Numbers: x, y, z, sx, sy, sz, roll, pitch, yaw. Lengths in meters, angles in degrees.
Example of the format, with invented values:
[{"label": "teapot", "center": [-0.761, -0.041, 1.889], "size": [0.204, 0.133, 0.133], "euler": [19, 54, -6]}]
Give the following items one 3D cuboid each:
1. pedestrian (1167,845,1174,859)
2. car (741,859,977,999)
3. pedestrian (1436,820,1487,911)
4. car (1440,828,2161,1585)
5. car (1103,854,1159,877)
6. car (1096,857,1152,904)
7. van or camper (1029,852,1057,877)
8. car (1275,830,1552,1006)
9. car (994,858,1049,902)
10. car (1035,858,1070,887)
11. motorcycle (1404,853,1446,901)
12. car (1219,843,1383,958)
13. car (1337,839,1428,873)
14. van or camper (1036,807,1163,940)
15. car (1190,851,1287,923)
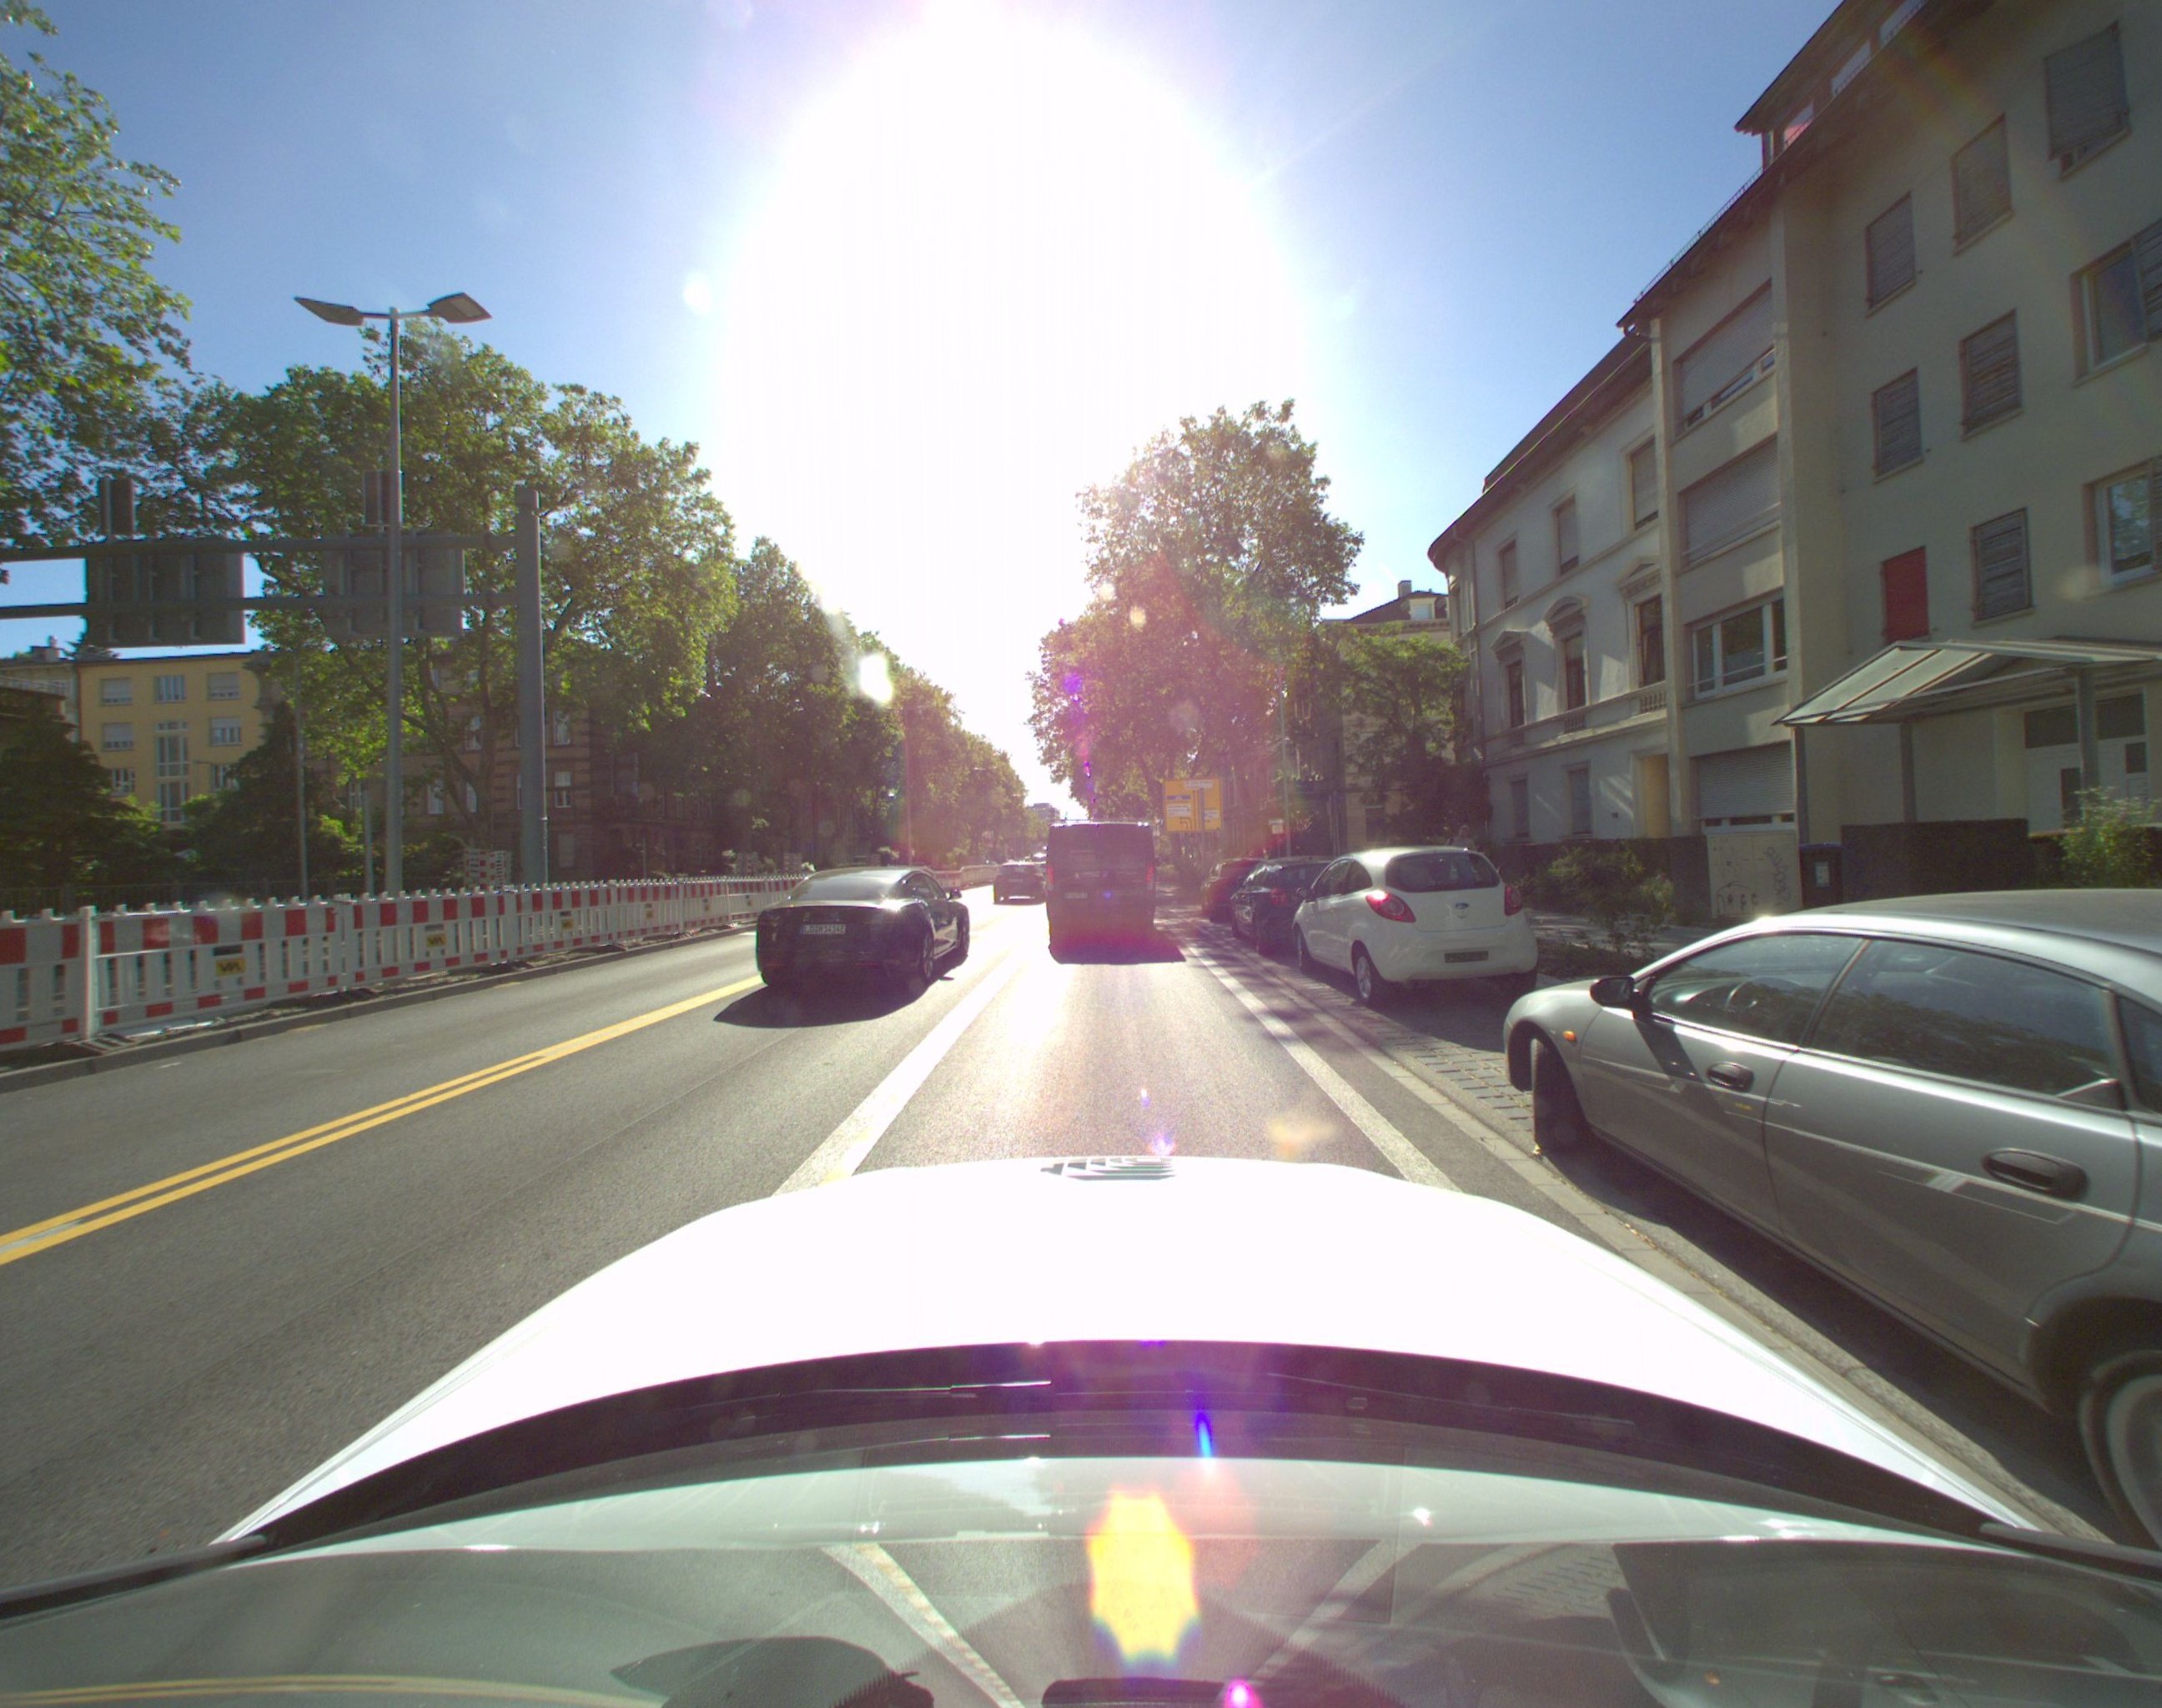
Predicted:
[{"label": "pedestrian", "center": [14.916, -0.303, 135.332], "size": [1.053, 2.346, 0.817], "euler": [-1, -1, 4]}, {"label": "car", "center": [-2.708, 0.828, 11.110], "size": [1.831, 1.483, 4.477], "euler": [-1, 0, 2]}, {"label": "pedestrian", "center": [7.995, 0.231, 17.141], "size": [0.662, 1.849, 0.694], "euler": [-3, -1, 1]}, {"label": "car", "center": [2.950, 0.670, 2.753], "size": [1.710, 1.412, 4.050], "euler": [-4, 0, 2]}, {"label": "car", "center": [3.670, 0.867, 60.007], "size": [3.972, 1.568, 1.779], "euler": [2, -1, 1]}, {"label": "car", "center": [1.583, 0.918, 29.733], "size": [1.826, 1.486, 4.061], "euler": [-2, 0, 3]}, {"label": "van or camper", "center": [-3.382, 0.929, 73.967], "size": [1.986, 2.013, 5.331], "euler": [-3, -1, 2]}, {"label": "car", "center": [3.434, 0.586, 9.192], "size": [1.614, 1.486, 3.735], "euler": [-4, 0, 2]}, {"label": "car", "center": [-2.140, 0.923, 30.067], "size": [1.614, 1.486, 3.735], "euler": [-1, 0, 2]}, {"label": "car", "center": [-1.533, 0.963, 44.671], "size": [1.614, 1.486, 3.735], "euler": [-1, 0, 2]}, {"label": "motorcycle", "center": [8.995, 0.591, 21.355], "size": [0.593, 1.186, 1.559], "euler": [-2, -1, 8]}, {"label": "car", "center": [3.404, 0.658, 13.343], "size": [1.614, 1.486, 4.058], "euler": [-4, 0, 2]}, {"label": "car", "center": [15.045, 0.103, 40.824], "size": [3.913, 1.561, 1.875], "euler": [-1, 1, 3]}, {"label": "van or camper", "center": [0.360, 0.370, 16.953], "size": [2.238, 2.346, 4.537], "euler": [-1, 0, 0]}, {"label": "car", "center": [3.744, 0.728, 19.998], "size": [1.614, 1.486, 4.099], "euler": [-4, 0, 2]}]
